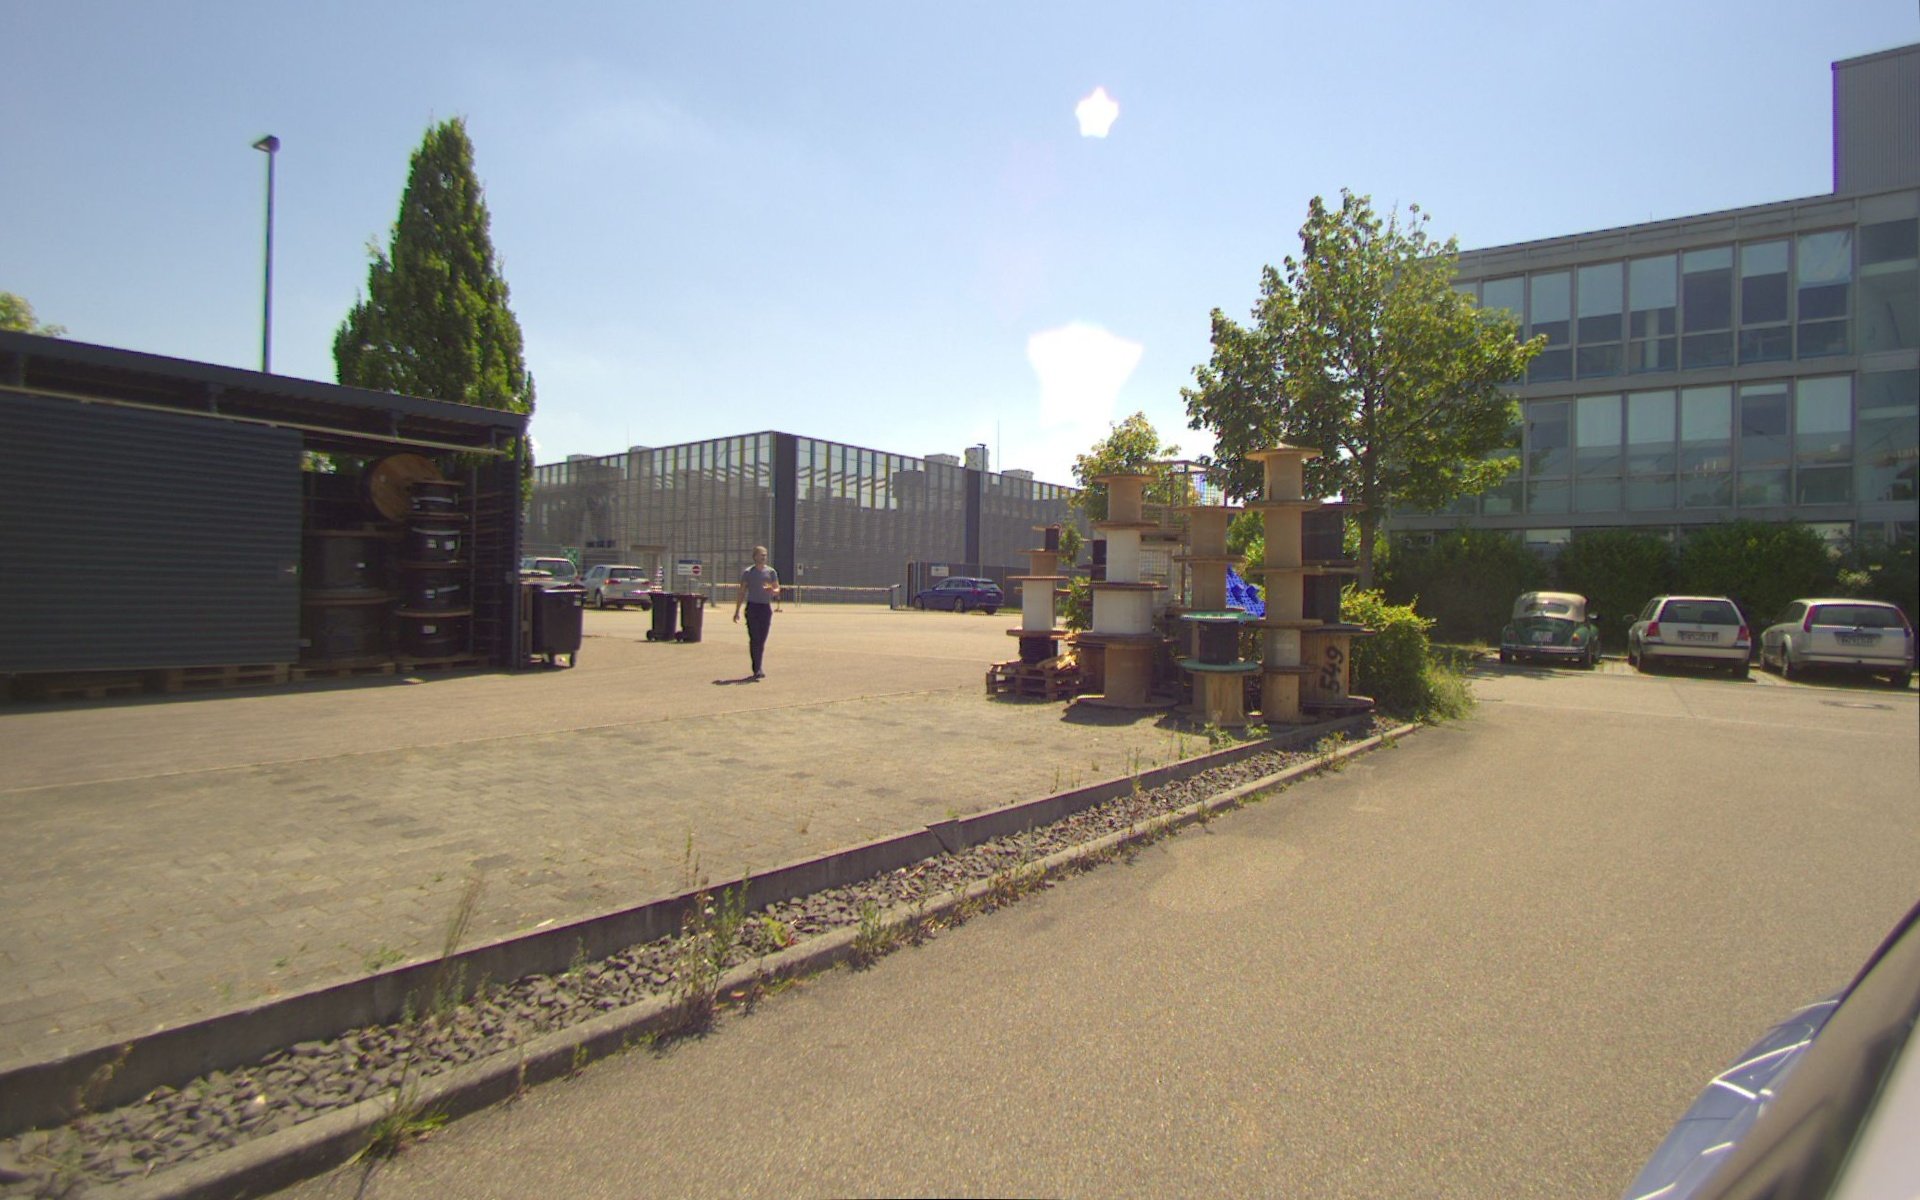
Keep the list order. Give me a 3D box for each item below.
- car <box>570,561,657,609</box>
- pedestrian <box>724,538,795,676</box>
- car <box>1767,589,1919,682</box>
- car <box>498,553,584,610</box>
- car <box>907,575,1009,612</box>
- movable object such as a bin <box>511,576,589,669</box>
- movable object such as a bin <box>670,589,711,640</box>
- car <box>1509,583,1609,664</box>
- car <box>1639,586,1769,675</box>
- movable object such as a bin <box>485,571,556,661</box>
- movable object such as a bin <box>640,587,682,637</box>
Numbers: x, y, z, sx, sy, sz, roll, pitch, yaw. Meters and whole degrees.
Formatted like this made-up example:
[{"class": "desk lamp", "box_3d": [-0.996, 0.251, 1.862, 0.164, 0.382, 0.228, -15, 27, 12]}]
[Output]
[{"class": "car", "box_3d": [-11.654, -0.530, 33.874, 1.815, 1.515, 4.002, 1, 2, -33]}, {"class": "pedestrian", "box_3d": [-2.711, 0.077, 13.645, 0.792, 1.790, 0.770, 0, 1, -21]}, {"class": "car", "box_3d": [16.334, 0.570, 18.694, 1.719, 1.470, 3.561, 2, 2, 31]}, {"class": "car", "box_3d": [-13.527, -0.623, 32.541, 1.815, 1.727, 4.002, 0, 2, -33]}, {"class": "car", "box_3d": [-0.142, -0.300, 41.682, 1.826, 1.427, 4.443, 0, 1, -38]}, {"class": "movable object such as a bin", "box_3d": [-5.921, 0.298, 14.616, 0.788, 1.265, 0.875, -1, 2, -43]}, {"class": "movable object such as a bin", "box_3d": [-5.131, 0.269, 19.280, 0.577, 0.929, 0.545, 1, 1, 14]}, {"class": "car", "box_3d": [12.381, 0.412, 20.852, 1.513, 1.463, 3.377, 3, 2, 35]}, {"class": "car", "box_3d": [14.265, 0.511, 19.568, 1.630, 1.470, 3.561, 3, 2, 31]}, {"class": "movable object such as a bin", "box_3d": [-6.705, 0.220, 15.446, 0.788, 1.314, 0.755, -1, 2, -43]}, {"class": "movable object such as a bin", "box_3d": [-5.748, 0.220, 19.455, 0.577, 0.929, 0.545, 1, 1, 14]}]
